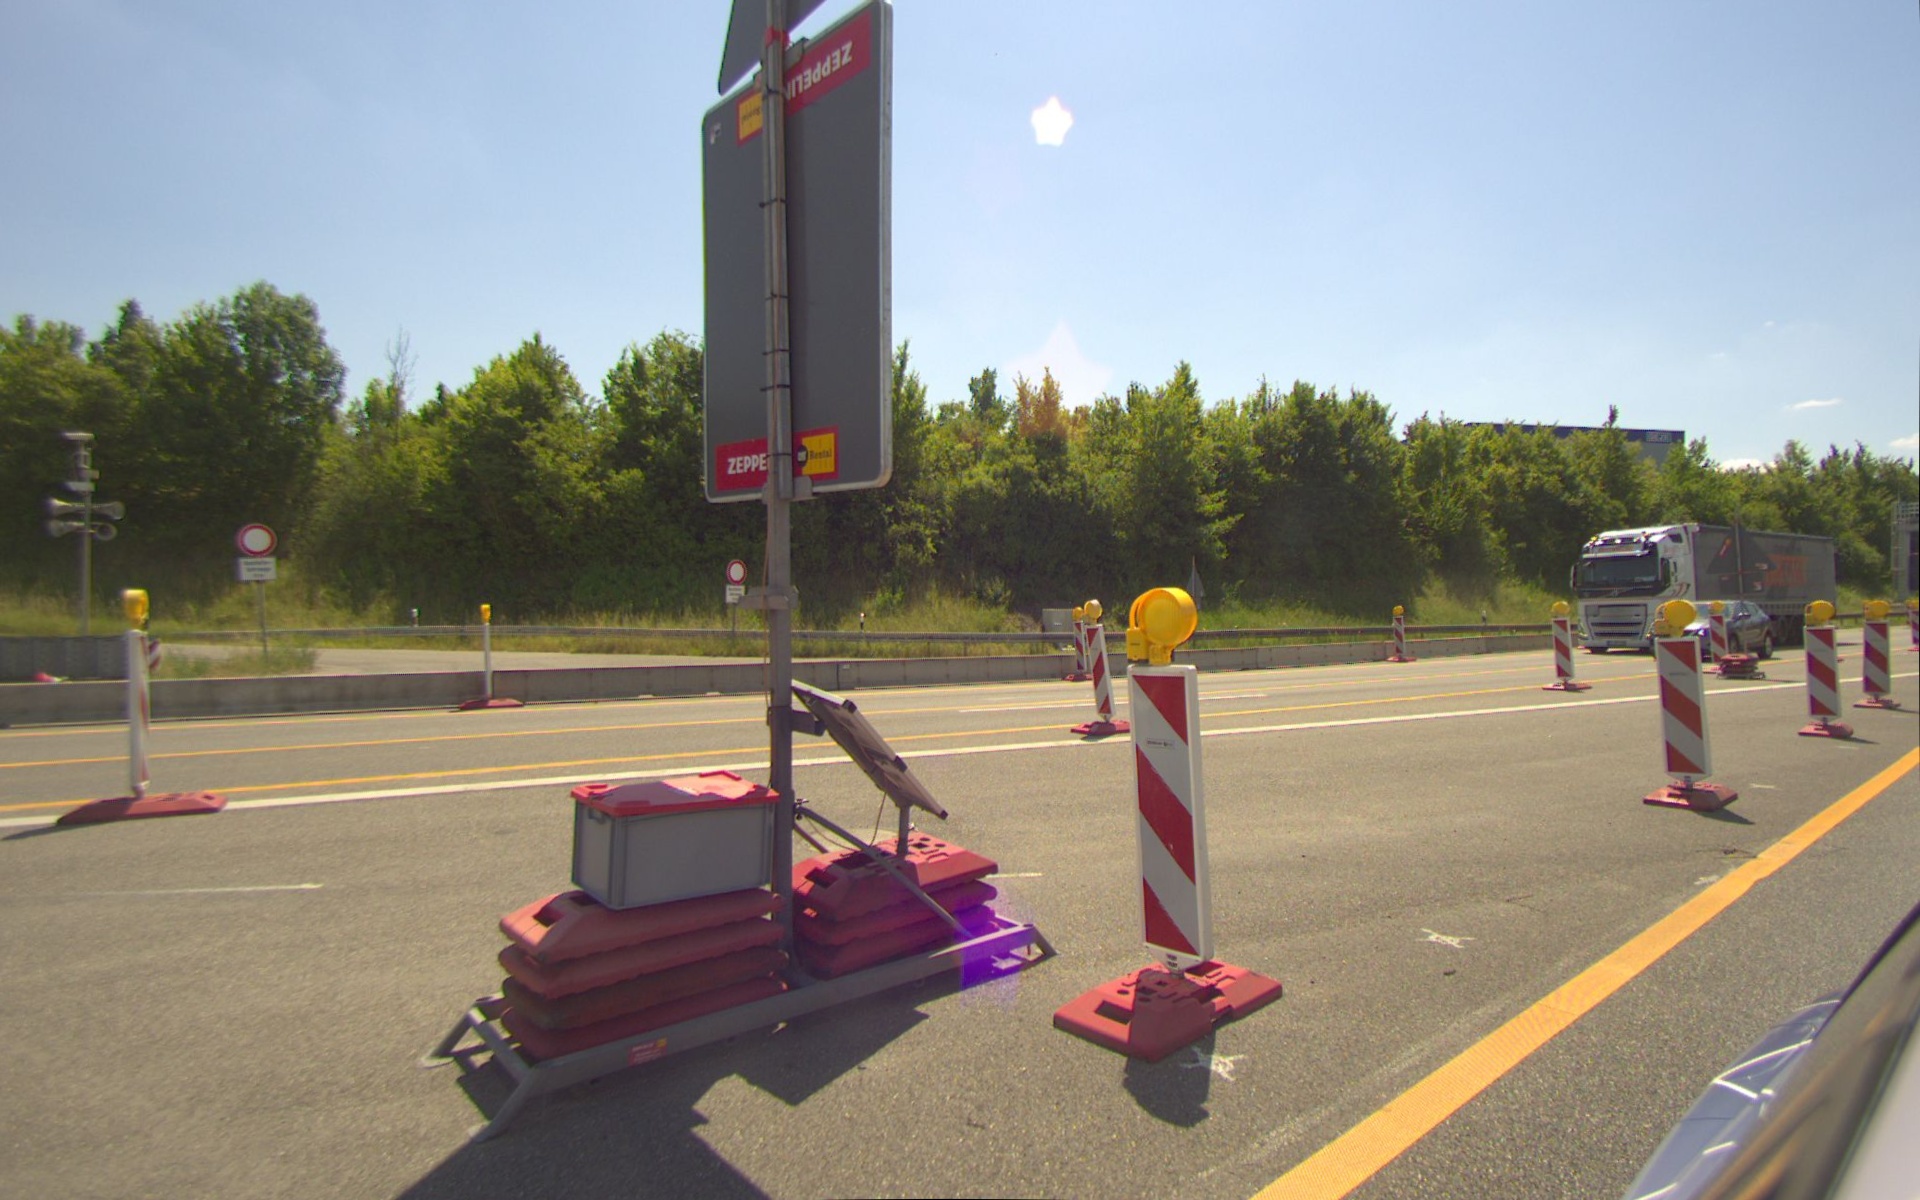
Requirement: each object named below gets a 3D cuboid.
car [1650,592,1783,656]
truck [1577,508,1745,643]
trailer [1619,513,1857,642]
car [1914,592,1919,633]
[{"bbox_3d":[20.267,0.603,27.070,3.955,1.572,1.711,-1,0,-35],"label":"car"},{"bbox_3d":[22.527,-0.703,32.469,5.491,4.001,2.535,0,-1,-34],"label":"truck"},{"bbox_3d":[28.236,-0.694,36.324,13.601,4.004,2.549,0,-1,-34],"label":"trailer"},{"bbox_3d":[42.004,0.481,42.474,4.406,1.717,1.821,-1,-1,-33],"label":"car"}]
